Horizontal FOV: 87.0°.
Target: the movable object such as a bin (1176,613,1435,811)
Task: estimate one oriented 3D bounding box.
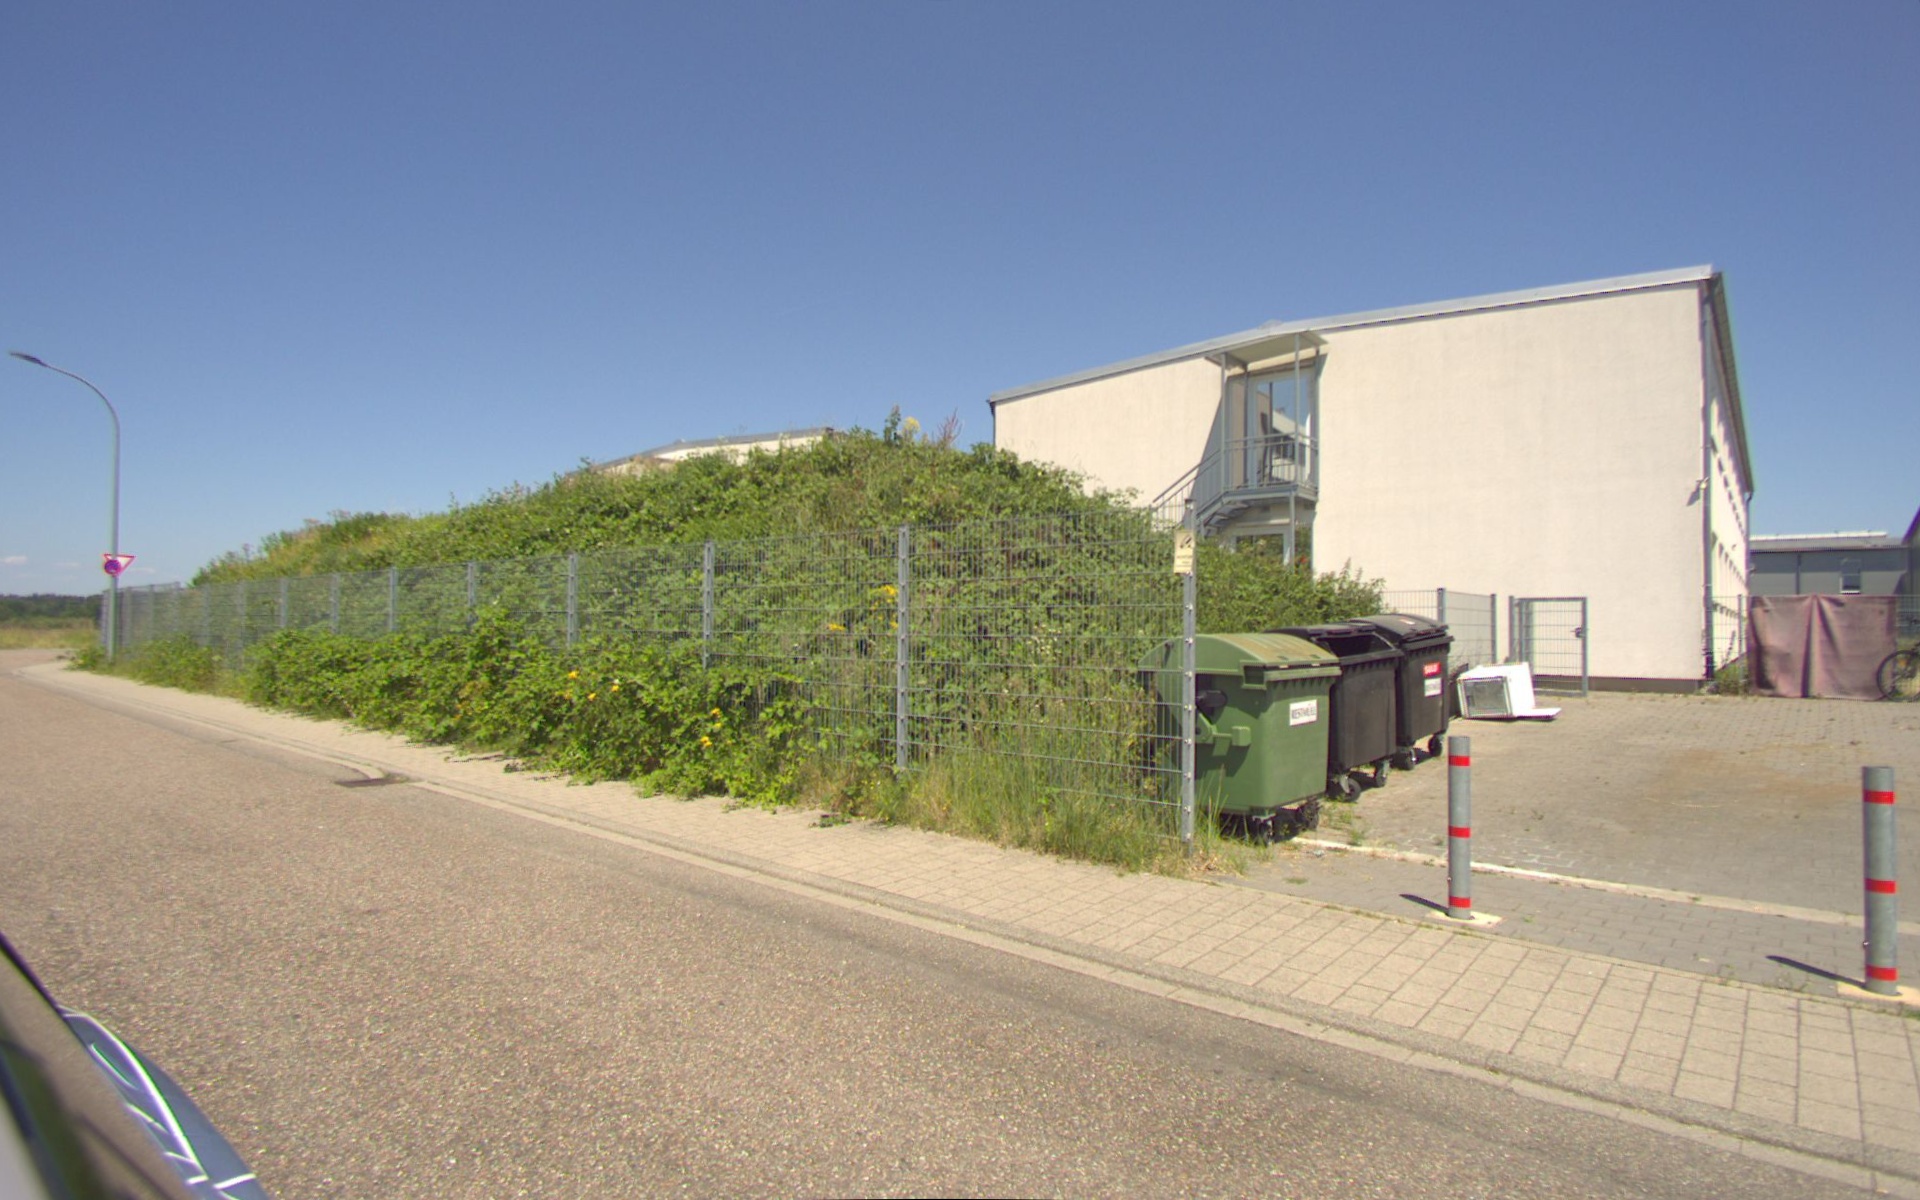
[{"bbox_3d":[3.057,0.900,8.994,1.765,1.476,1.335,-2,1,42],"label":"movable object such as a bin"}]

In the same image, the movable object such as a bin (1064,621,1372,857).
[{"bbox_3d":[1.893,0.907,7.513,1.838,1.488,1.290,-1,-2,41],"label":"movable object such as a bin"}]

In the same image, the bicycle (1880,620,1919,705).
[{"bbox_3d":[12.982,0.796,12.751,1.995,1.081,0.546,-1,-1,39],"label":"bicycle"}]

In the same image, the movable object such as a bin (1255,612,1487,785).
[{"bbox_3d":[4.086,0.900,10.076,1.765,1.476,1.335,-2,1,42],"label":"movable object such as a bin"}]
